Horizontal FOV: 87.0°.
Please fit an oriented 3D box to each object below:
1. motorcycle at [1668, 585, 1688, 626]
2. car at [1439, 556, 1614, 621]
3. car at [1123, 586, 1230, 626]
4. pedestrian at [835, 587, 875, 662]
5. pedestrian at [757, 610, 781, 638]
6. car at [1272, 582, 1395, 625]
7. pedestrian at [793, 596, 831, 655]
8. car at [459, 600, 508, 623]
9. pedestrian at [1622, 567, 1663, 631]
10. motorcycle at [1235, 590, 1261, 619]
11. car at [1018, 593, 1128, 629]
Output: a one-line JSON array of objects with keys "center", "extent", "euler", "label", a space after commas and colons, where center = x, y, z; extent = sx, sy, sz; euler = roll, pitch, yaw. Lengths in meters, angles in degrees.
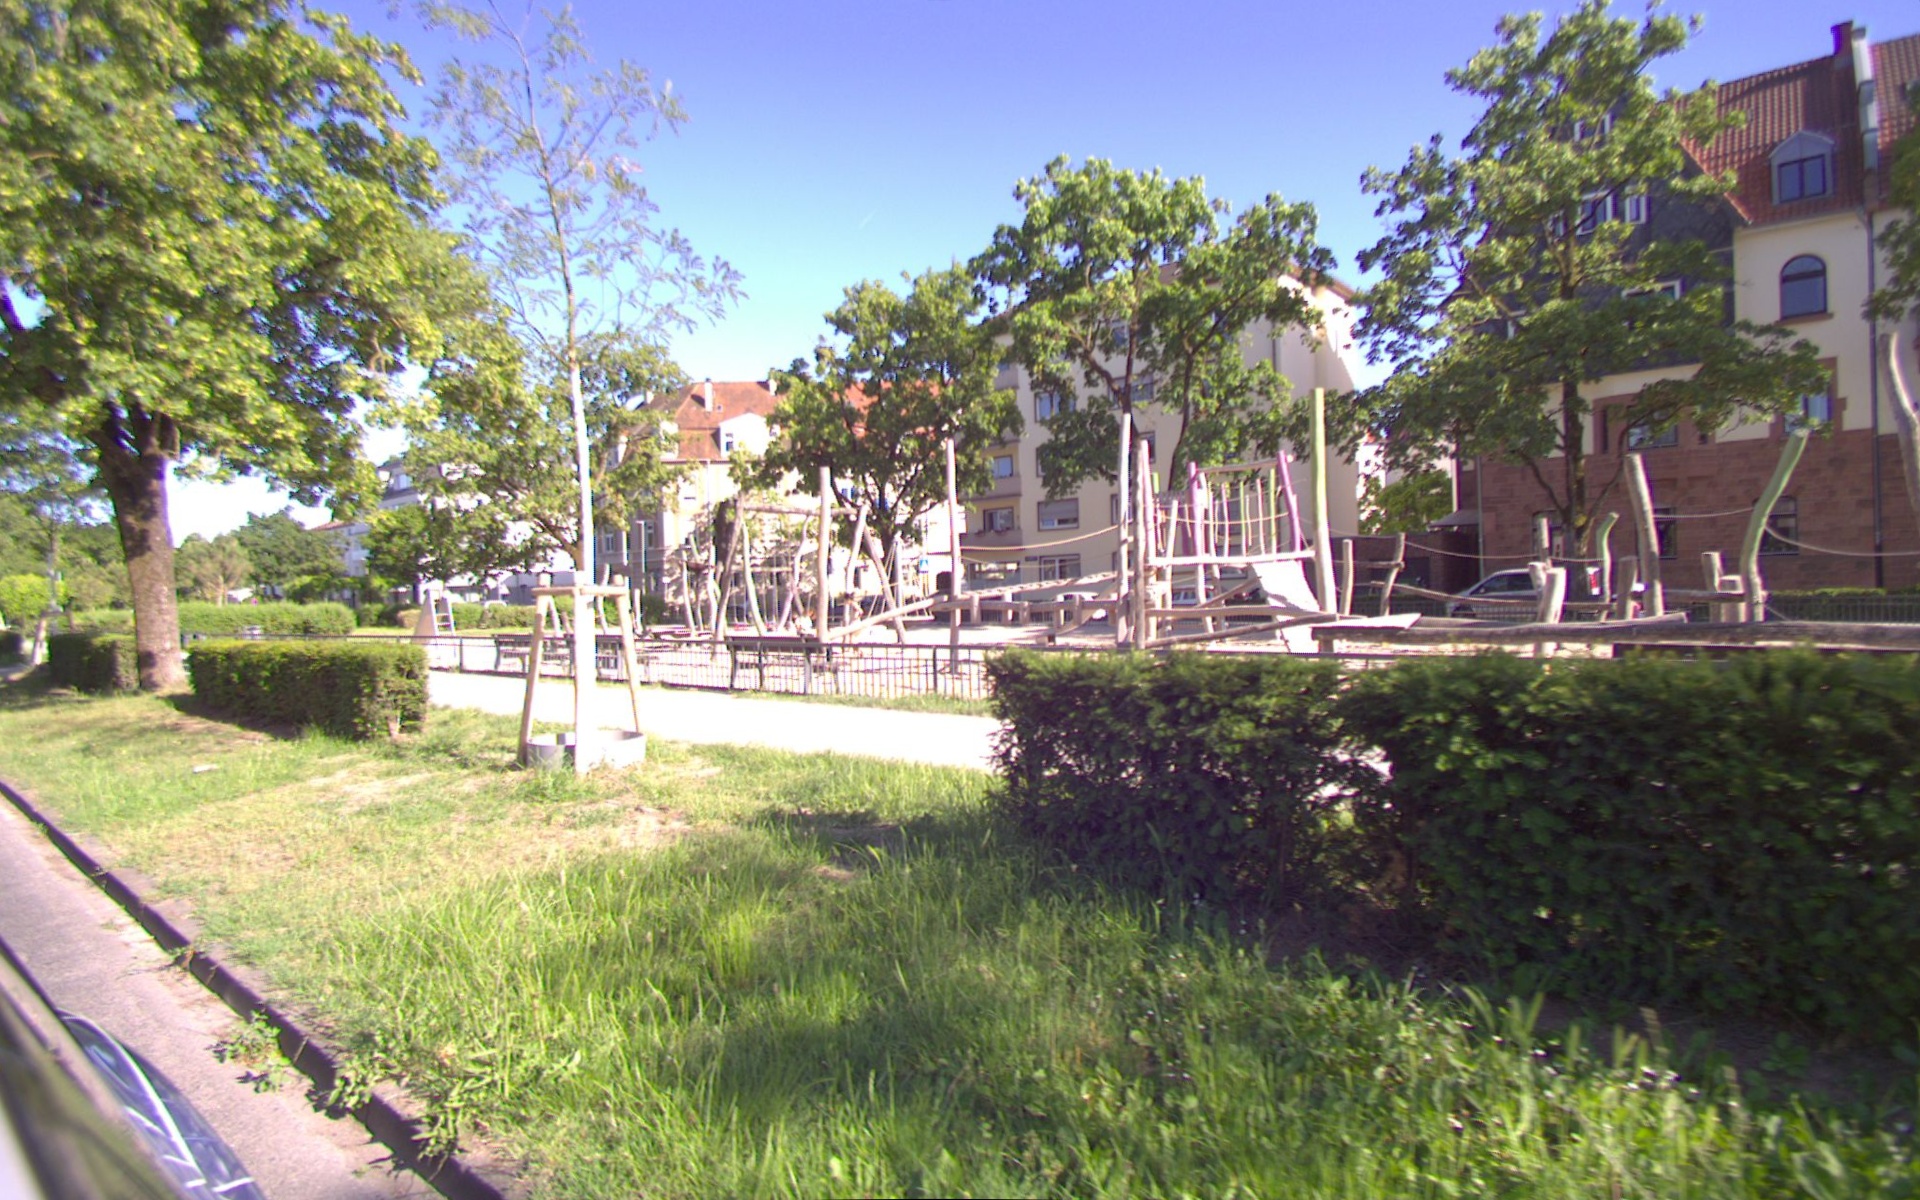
[{"center": [15.068, 0.119, 21.234], "extent": [0.284, 0.833, 0.695], "euler": [-2, 0, 39], "label": "motorcycle"}, {"center": [18.952, -0.348, 33.986], "extent": [4.833, 1.997, 1.776], "euler": [-2, 1, 41], "label": "car"}, {"center": [9.091, 0.270, 42.652], "extent": [3.998, 1.521, 1.776], "euler": [-2, 1, 41], "label": "car"}, {"center": [-2.398, 0.551, 23.112], "extent": [0.639, 1.674, 0.652], "euler": [-2, 0, -31], "label": "pedestrian"}, {"center": [-6.911, 0.853, 36.608], "extent": [0.535, 0.986, 0.779], "euler": [-2, 0, -41], "label": "pedestrian"}, {"center": [14.152, 0.150, 38.446], "extent": [3.998, 1.521, 1.776], "euler": [-2, 1, 41], "label": "car"}, {"center": [-3.476, 0.597, 23.739], "extent": [0.639, 1.339, 0.652], "euler": [-2, 0, -31], "label": "pedestrian"}, {"center": [-37.356, 0.901, 79.244], "extent": [4.585, 1.647, 1.776], "euler": [-2, 1, 41], "label": "car"}, {"center": [14.527, -0.020, 21.532], "extent": [0.649, 1.328, 0.642], "euler": [-2, 0, 38], "label": "pedestrian"}, {"center": [11.593, 0.166, 40.671], "extent": [0.499, 1.116, 1.780], "euler": [-1, 1, 33], "label": "motorcycle"}, {"center": [5.130, 0.520, 46.286], "extent": [4.760, 1.521, 1.887], "euler": [-2, 1, 40], "label": "car"}]
